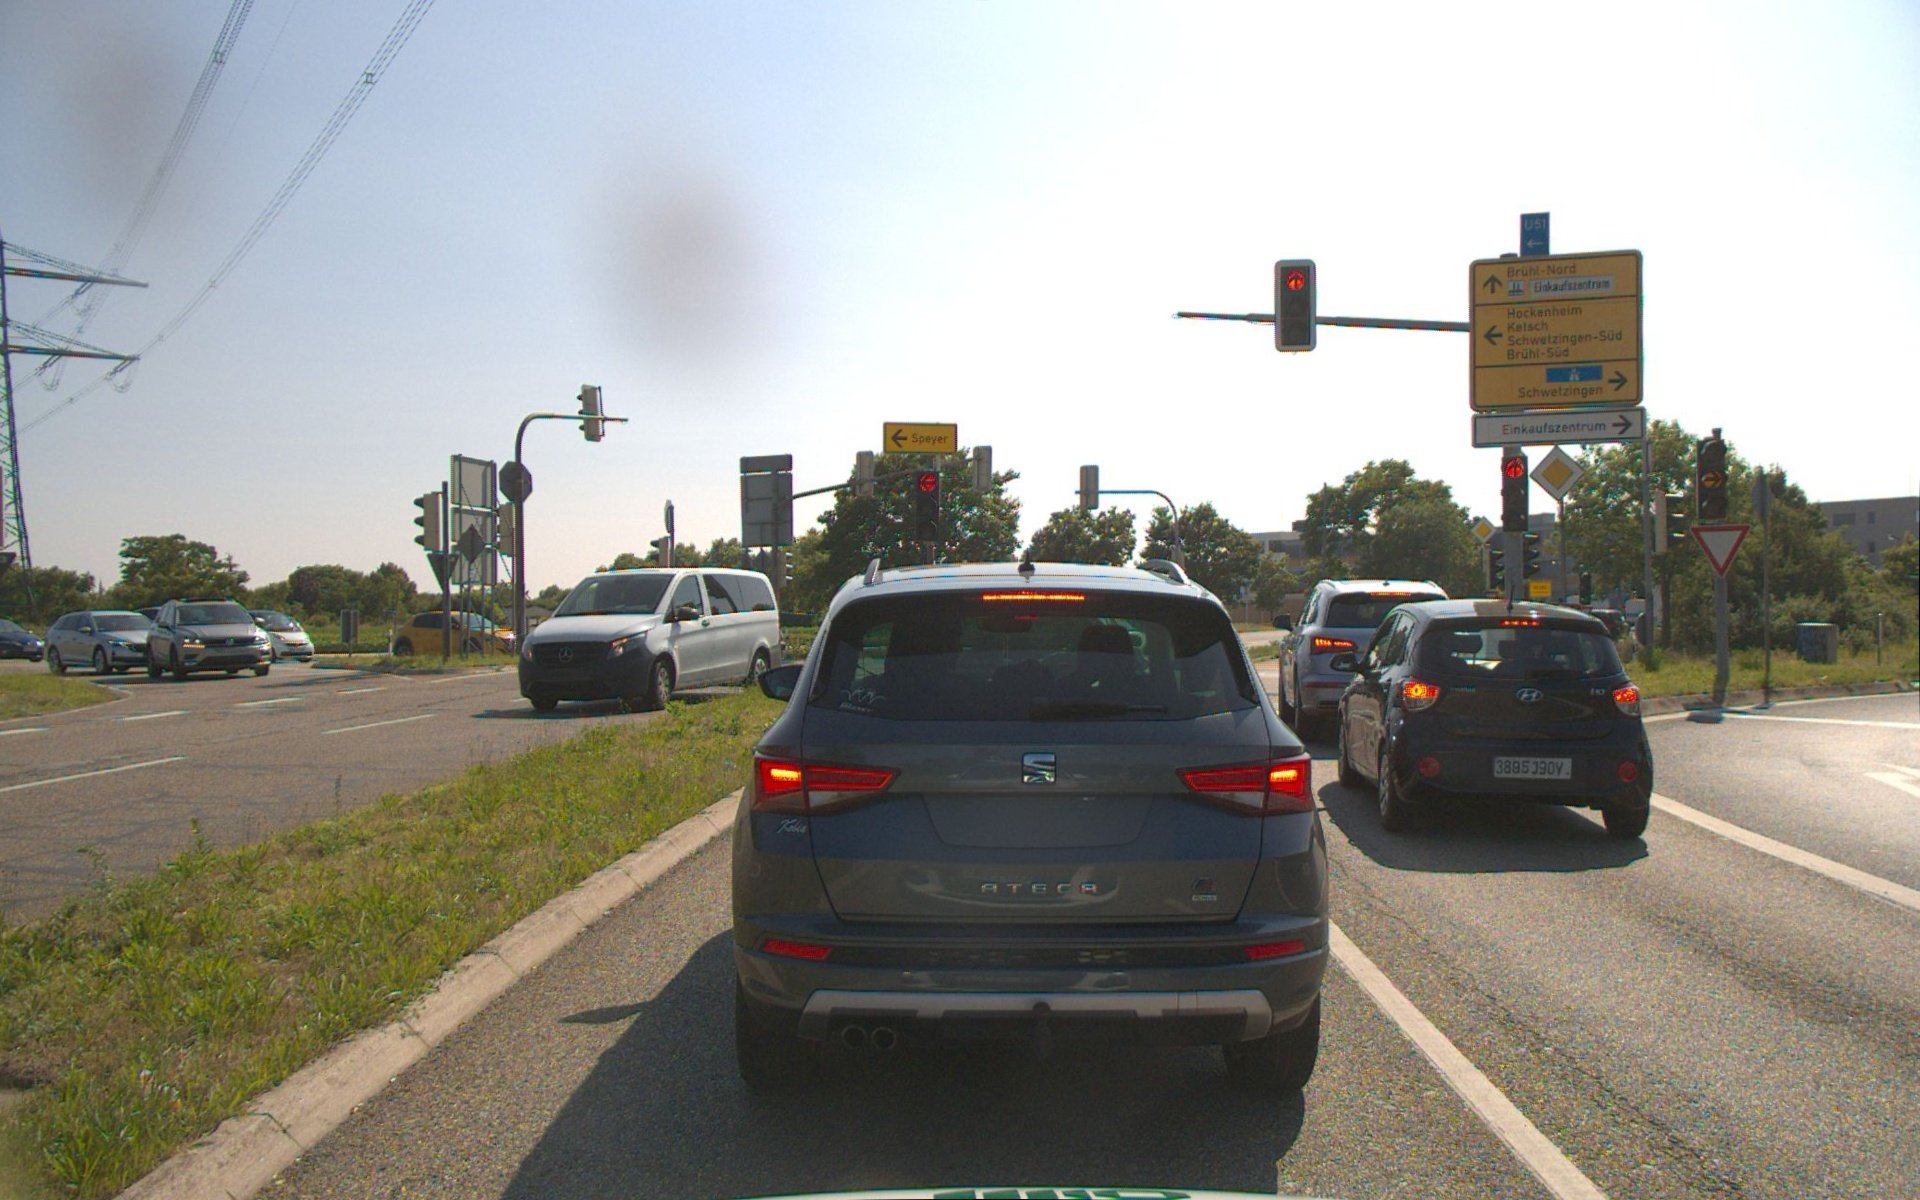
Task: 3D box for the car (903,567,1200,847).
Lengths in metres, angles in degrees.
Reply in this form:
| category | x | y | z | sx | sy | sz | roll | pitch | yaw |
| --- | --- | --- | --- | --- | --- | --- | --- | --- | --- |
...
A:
| category | x | y | z | sx | sy | sz | roll | pitch | yaw |
| --- | --- | --- | --- | --- | --- | --- | --- | --- | --- |
| car | 0.549 | 0.633 | 11.482 | 1.706 | 1.596 | 3.624 | 1 | 0 | 0 |

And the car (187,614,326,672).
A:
| category | x | y | z | sx | sy | sz | roll | pitch | yaw |
| --- | --- | --- | --- | --- | --- | --- | --- | --- | --- |
| car | -21.274 | 1.289 | 50.002 | 3.910 | 1.680 | 1.818 | -1 | 0 | 28 |

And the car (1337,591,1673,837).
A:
| category | x | y | z | sx | sy | sz | roll | pitch | yaw |
| --- | --- | --- | --- | --- | --- | --- | --- | --- | --- |
| car | 3.700 | 0.687 | 11.759 | 1.598 | 1.473 | 3.297 | 1 | 0 | 6 |

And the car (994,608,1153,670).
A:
| category | x | y | z | sx | sy | sz | roll | pitch | yaw |
| --- | --- | --- | --- | --- | --- | --- | --- | --- | --- |
| car | 2.976 | 1.007 | 43.375 | 3.791 | 1.545 | 1.806 | -1 | 0 | 25 |

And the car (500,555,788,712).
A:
| category | x | y | z | sx | sy | sz | roll | pitch | yaw |
| --- | --- | --- | --- | --- | --- | --- | --- | --- | --- |
| car | -4.239 | 0.403 | 23.178 | 1.951 | 1.951 | 4.951 | 0 | 0 | 16 |

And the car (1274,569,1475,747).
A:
| category | x | y | z | sx | sy | sz | roll | pitch | yaw |
| --- | --- | --- | --- | --- | --- | --- | --- | --- | --- |
| car | 4.385 | 0.570 | 17.960 | 1.598 | 1.706 | 3.752 | 1 | 0 | 6 |

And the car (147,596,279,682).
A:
| category | x | y | z | sx | sy | sz | roll | pitch | yaw |
| --- | --- | --- | --- | --- | --- | --- | --- | --- | --- |
| car | -15.658 | 0.786 | 34.579 | 1.800 | 1.680 | 3.949 | 0 | 0 | -36 |

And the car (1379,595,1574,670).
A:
| category | x | y | z | sx | sy | sz | roll | pitch | yaw |
| --- | --- | --- | --- | --- | --- | --- | --- | --- | --- |
| car | 10.833 | 0.656 | 34.780 | 3.818 | 1.490 | 1.724 | 0 | 0 | 19 |

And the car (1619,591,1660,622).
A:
| category | x | y | z | sx | sy | sz | roll | pitch | yaw |
| --- | --- | --- | --- | --- | --- | --- | --- | --- | --- |
| car | 42.847 | 0.411 | 104.239 | 1.686 | 1.851 | 3.766 | 1 | 0 | 33 |

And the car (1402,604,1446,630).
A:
| category | x | y | z | sx | sy | sz | roll | pitch | yaw |
| --- | --- | --- | --- | --- | --- | --- | --- | --- | --- |
| car | 30.293 | 1.116 | 107.912 | 1.682 | 1.576 | 3.599 | 1 | 0 | 34 |

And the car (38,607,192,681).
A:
| category | x | y | z | sx | sy | sz | roll | pitch | yaw |
| --- | --- | --- | --- | --- | --- | --- | --- | --- | --- |
| car | -20.334 | 1.035 | 39.739 | 3.922 | 1.680 | 1.812 | -1 | 0 | 37 |

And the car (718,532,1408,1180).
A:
| category | x | y | z | sx | sy | sz | roll | pitch | yaw |
| --- | --- | --- | --- | --- | --- | --- | --- | --- | --- |
| car | 0.245 | 0.655 | 5.972 | 1.706 | 1.596 | 3.623 | 1 | 0 | -1 |

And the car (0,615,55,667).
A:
| category | x | y | z | sx | sy | sz | roll | pitch | yaw |
| --- | --- | --- | --- | --- | --- | --- | --- | --- | --- |
| car | -32.510 | 1.376 | 55.606 | 3.910 | 1.680 | 1.818 | -1 | 0 | 28 |

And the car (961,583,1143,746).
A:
| category | x | y | z | sx | sy | sz | roll | pitch | yaw |
| --- | --- | --- | --- | --- | --- | --- | --- | --- | --- |
| car | 1.027 | 0.624 | 17.606 | 1.705 | 1.510 | 3.626 | 1 | 0 | 5 |

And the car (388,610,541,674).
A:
| category | x | y | z | sx | sy | sz | roll | pitch | yaw |
| --- | --- | --- | --- | --- | --- | --- | --- | --- | --- |
| car | -13.709 | 1.137 | 45.725 | 3.910 | 1.680 | 1.818 | -1 | 0 | 28 |

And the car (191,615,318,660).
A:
| category | x | y | z | sx | sy | sz | roll | pitch | yaw |
| --- | --- | --- | --- | --- | --- | --- | --- | --- | --- |
| car | -24.863 | 1.312 | 58.276 | 4.236 | 1.545 | 1.806 | -1 | 0 | 25 |

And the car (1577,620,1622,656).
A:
| category | x | y | z | sx | sy | sz | roll | pitch | yaw |
| --- | --- | --- | --- | --- | --- | --- | --- | --- | --- |
| car | 31.912 | 1.878 | 82.461 | 1.839 | 1.702 | 3.767 | 1 | 0 | 25 |
